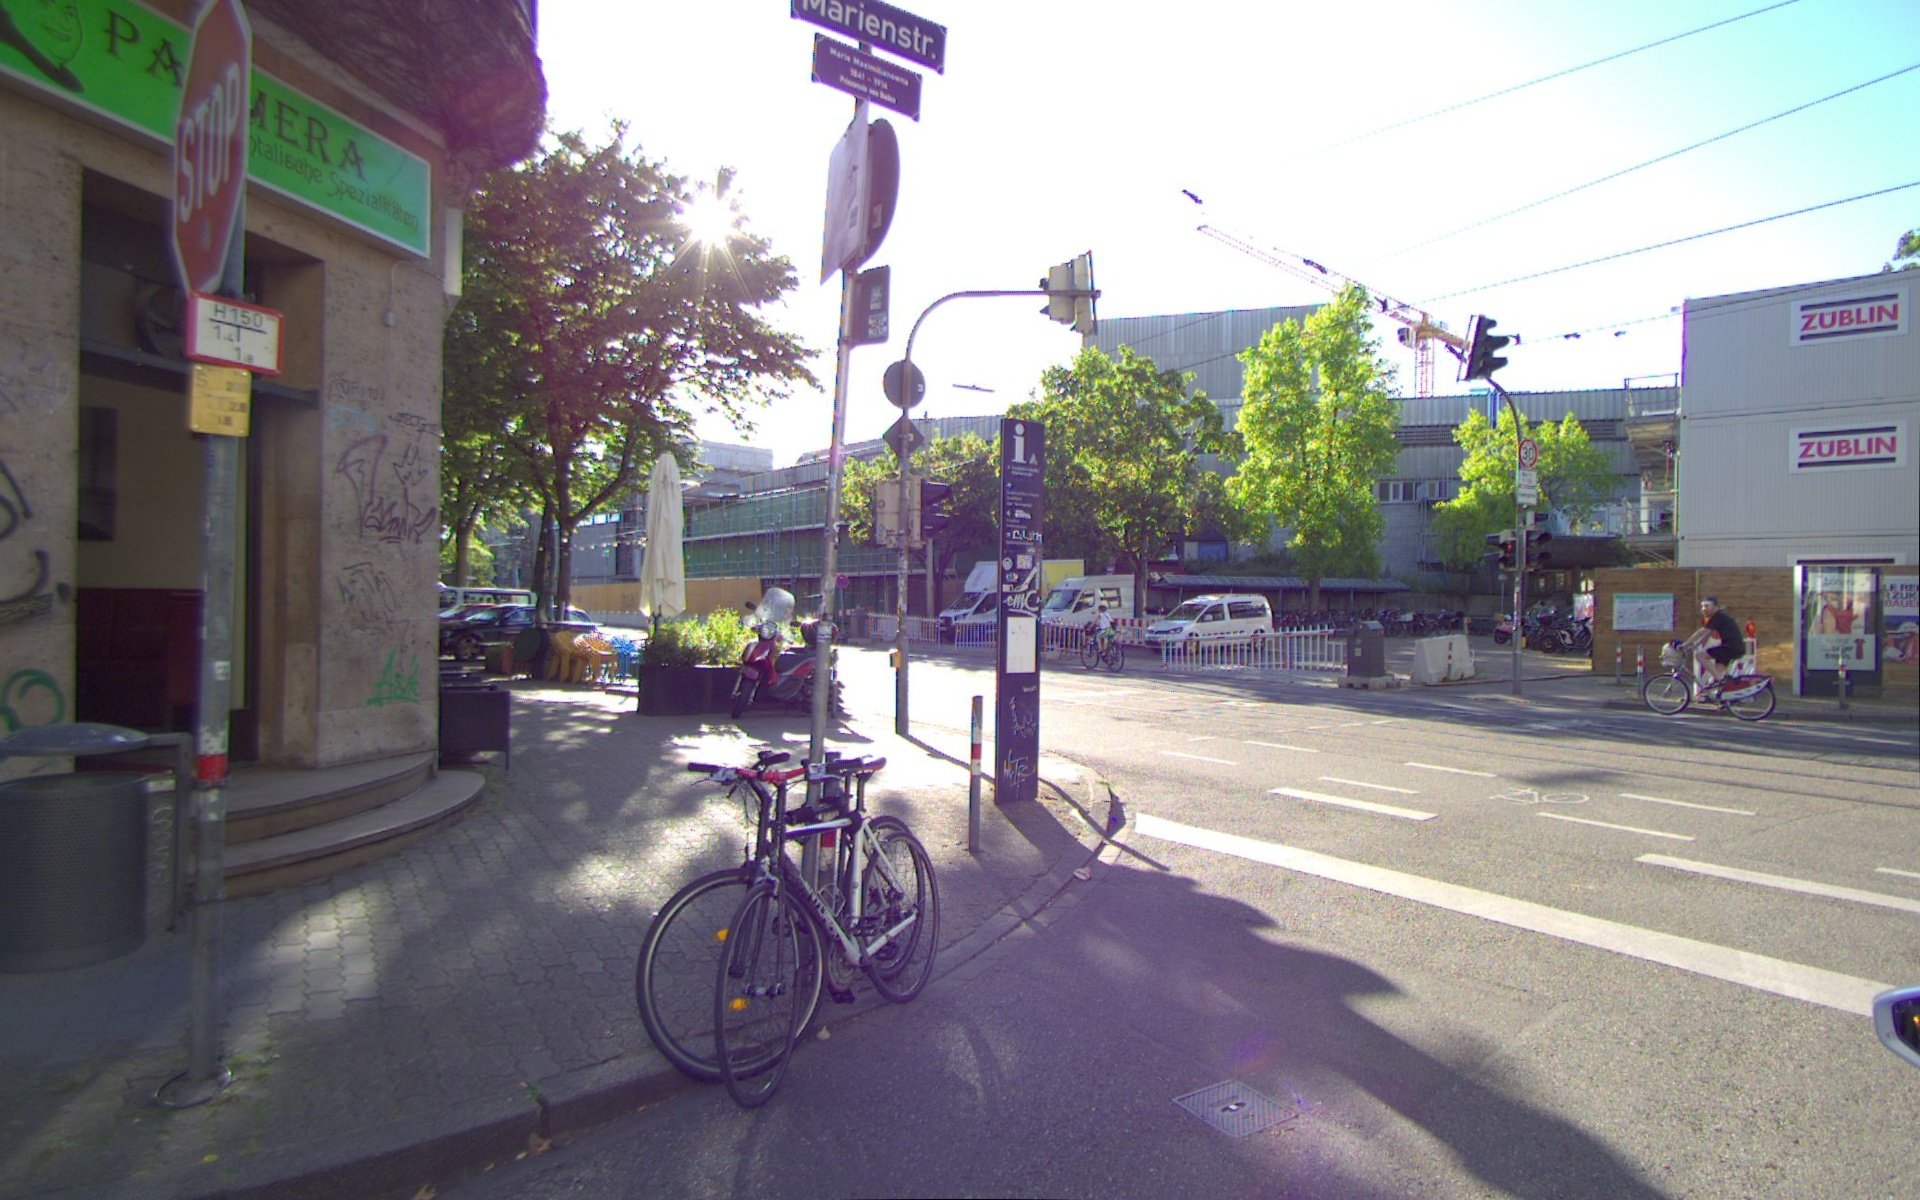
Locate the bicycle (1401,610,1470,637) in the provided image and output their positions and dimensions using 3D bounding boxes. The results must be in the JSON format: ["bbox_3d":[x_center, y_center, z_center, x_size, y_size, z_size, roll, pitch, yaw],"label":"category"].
[{"bbox_3d":[21.713,1.053,45.953,0.810,1.163,3.070,0,0,-25],"label":"bicycle"}]

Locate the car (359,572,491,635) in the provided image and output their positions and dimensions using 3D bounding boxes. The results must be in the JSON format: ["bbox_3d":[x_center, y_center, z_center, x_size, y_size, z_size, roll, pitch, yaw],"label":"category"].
[{"bbox_3d":[-25.312,0.217,47.594,5.152,2.611,2.222,4,-3,-38],"label":"car"}]

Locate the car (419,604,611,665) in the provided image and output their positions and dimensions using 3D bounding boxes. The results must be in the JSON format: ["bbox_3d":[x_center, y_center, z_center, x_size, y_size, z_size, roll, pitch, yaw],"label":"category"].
[{"bbox_3d":[-11.946,0.888,27.281,1.660,1.510,4.632,0,-1,33],"label":"car"}]

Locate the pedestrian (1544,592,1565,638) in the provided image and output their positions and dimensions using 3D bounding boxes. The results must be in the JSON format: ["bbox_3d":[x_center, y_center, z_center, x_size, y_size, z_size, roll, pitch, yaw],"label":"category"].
[{"bbox_3d":[26.873,0.680,45.368,0.789,2.040,1.028,0,0,32],"label":"pedestrian"}]

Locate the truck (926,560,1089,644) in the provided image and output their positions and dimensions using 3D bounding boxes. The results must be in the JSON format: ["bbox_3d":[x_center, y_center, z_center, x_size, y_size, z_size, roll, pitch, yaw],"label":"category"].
[{"bbox_3d":[2.137,-0.003,43.457,7.045,3.393,2.368,-1,1,-34],"label":"truck"}]

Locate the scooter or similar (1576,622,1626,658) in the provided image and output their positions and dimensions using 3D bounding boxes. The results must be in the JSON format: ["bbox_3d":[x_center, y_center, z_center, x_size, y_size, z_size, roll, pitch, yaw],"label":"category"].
[{"bbox_3d":[19.186,1.187,30.074,1.463,1.034,0.384,0,1,-16],"label":"scooter or similar"}]

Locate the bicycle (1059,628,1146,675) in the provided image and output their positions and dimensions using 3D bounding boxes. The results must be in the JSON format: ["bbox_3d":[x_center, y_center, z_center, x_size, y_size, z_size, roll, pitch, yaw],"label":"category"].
[{"bbox_3d":[3.722,1.345,26.495,0.886,1.107,2.408,2,-1,-33],"label":"bicycle"}]

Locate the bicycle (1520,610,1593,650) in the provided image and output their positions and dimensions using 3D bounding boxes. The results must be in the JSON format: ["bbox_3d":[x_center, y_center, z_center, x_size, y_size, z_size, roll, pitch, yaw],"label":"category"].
[{"bbox_3d":[19.641,0.975,33.098,2.009,1.274,0.471,0,1,19],"label":"bicycle"}]

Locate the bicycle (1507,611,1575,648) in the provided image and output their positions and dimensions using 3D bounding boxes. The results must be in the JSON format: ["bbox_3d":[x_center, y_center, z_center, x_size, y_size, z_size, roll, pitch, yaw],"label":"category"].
[{"bbox_3d":[20.611,1.036,35.686,2.009,1.274,0.543,0,1,19],"label":"bicycle"}]

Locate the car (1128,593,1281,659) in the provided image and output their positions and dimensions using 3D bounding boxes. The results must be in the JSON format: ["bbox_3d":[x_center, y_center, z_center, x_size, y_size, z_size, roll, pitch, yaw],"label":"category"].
[{"bbox_3d":[8.166,0.798,33.444,4.886,1.918,1.995,-2,2,-29],"label":"car"}]

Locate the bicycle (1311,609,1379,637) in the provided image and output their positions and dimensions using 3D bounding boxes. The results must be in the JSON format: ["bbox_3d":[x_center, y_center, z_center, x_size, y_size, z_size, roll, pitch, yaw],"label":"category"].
[{"bbox_3d":[16.653,0.983,43.551,0.810,1.163,3.070,0,0,-25],"label":"bicycle"}]

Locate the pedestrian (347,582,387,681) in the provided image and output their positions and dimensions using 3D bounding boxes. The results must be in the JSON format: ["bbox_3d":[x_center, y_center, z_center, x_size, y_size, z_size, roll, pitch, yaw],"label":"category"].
[{"bbox_3d":[-10.235,0.528,17.347,0.534,1.665,0.564,-1,1,-36],"label":"pedestrian"}]

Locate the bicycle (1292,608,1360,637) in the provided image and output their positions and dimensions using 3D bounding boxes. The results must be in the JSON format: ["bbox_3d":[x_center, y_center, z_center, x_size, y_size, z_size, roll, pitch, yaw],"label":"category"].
[{"bbox_3d":[15.673,0.956,43.142,0.810,1.163,3.070,0,0,-25],"label":"bicycle"}]

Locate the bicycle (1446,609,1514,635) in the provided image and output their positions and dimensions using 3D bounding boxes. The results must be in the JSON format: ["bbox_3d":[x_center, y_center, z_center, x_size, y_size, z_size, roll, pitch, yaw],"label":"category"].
[{"bbox_3d":[25.195,1.041,48.748,0.810,1.163,3.070,0,0,-25],"label":"bicycle"}]

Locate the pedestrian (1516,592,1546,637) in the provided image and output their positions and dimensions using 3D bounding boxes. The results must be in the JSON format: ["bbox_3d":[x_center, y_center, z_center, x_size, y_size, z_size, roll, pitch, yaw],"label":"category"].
[{"bbox_3d":[26.328,0.672,46.331,0.925,2.040,0.798,0,0,-24],"label":"pedestrian"}]

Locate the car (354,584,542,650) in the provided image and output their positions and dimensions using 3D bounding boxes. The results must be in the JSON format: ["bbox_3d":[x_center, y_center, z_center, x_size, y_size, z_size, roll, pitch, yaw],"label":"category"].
[{"bbox_3d":[-16.959,0.533,33.574,2.003,2.018,5.334,1,0,32],"label":"car"}]

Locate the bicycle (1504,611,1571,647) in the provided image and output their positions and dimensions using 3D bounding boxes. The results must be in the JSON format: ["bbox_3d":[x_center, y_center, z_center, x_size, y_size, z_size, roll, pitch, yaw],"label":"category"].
[{"bbox_3d":[20.819,1.032,36.242,2.009,1.274,0.543,0,1,19],"label":"bicycle"}]

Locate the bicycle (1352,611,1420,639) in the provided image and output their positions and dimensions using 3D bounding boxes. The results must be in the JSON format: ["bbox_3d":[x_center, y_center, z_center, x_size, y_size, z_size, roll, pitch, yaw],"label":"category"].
[{"bbox_3d":[18.934,1.077,44.738,0.810,1.163,3.070,0,0,-25],"label":"bicycle"}]

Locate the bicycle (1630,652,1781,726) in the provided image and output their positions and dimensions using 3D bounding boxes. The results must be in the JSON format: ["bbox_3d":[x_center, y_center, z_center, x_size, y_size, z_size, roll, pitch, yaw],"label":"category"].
[{"bbox_3d":[11.759,1.374,15.891,1.891,1.032,0.679,0,0,39],"label":"bicycle"}]

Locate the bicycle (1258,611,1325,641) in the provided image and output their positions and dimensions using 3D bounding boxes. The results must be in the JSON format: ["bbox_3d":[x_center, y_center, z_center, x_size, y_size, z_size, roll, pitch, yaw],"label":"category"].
[{"bbox_3d":[13.836,1.063,42.087,0.810,1.163,3.070,0,0,-25],"label":"bicycle"}]

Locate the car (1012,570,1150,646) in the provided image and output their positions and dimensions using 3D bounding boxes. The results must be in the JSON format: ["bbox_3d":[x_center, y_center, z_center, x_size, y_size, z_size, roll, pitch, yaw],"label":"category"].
[{"bbox_3d":[4.699,0.226,38.396,5.330,2.565,1.979,-3,2,-37],"label":"car"}]

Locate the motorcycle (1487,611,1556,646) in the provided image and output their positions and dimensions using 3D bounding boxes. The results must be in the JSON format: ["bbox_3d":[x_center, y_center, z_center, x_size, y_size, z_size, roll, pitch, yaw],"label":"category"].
[{"bbox_3d":[20.935,1.036,37.462,2.168,1.274,0.543,0,1,19],"label":"motorcycle"}]

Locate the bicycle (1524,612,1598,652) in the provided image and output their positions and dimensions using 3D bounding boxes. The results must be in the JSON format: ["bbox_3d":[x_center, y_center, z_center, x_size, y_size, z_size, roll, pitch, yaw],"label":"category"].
[{"bbox_3d":[19.506,1.029,32.639,2.009,1.274,0.471,0,1,19],"label":"bicycle"}]

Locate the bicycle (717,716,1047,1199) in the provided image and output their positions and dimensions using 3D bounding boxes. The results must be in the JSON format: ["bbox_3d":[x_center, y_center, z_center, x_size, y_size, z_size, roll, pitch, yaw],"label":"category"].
[{"bbox_3d":[-0.160,1.064,3.559,0.449,1.060,1.687,0,2,22],"label":"bicycle"}]

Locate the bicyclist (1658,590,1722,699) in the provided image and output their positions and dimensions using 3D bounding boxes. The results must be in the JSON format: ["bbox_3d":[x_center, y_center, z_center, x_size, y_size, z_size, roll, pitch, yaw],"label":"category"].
[{"bbox_3d":[11.628,0.694,15.999,0.799,1.680,0.679,0,0,38],"label":"bicyclist"}]

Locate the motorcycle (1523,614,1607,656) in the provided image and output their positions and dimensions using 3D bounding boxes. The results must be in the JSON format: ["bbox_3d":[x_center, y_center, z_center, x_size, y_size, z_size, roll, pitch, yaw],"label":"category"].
[{"bbox_3d":[19.037,1.097,31.646,2.168,1.274,0.543,0,1,19],"label":"motorcycle"}]

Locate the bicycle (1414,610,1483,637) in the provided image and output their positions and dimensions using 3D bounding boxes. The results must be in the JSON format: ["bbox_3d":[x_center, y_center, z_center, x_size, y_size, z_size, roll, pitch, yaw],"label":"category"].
[{"bbox_3d":[22.521,1.075,46.405,0.810,1.163,3.070,0,0,-25],"label":"bicycle"}]

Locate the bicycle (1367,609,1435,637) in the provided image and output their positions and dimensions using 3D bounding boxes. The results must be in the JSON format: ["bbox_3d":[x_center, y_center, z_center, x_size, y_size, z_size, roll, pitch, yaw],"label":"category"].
[{"bbox_3d":[19.747,1.000,45.084,0.810,1.163,3.070,0,0,-25],"label":"bicycle"}]

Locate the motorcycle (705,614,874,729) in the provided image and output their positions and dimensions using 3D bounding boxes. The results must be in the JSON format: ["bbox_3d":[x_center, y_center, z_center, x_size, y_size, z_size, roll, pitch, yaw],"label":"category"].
[{"bbox_3d":[-2.189,0.918,13.364,0.982,1.368,2.419,0,-3,25],"label":"motorcycle"}]

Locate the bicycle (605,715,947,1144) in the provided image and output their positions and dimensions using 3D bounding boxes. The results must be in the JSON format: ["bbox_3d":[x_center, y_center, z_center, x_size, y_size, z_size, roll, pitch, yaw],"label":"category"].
[{"bbox_3d":[-0.578,1.060,3.786,0.442,1.060,1.663,0,0,22],"label":"bicycle"}]

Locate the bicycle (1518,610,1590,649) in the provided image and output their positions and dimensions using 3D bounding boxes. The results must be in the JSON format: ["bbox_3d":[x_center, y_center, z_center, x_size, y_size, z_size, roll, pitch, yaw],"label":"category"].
[{"bbox_3d":[19.822,0.978,33.569,2.009,1.274,0.471,0,1,19],"label":"bicycle"}]

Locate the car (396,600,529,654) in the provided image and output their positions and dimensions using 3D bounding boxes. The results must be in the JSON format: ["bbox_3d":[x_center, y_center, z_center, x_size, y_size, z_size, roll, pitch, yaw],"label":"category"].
[{"bbox_3d":[-15.477,0.806,31.375,1.659,1.523,3.318,4,2,31],"label":"car"}]

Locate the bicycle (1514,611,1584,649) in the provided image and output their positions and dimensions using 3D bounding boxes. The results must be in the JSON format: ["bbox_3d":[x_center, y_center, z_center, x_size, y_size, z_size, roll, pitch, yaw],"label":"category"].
[{"bbox_3d":[20.232,1.021,34.551,2.009,1.274,0.543,0,1,19],"label":"bicycle"}]

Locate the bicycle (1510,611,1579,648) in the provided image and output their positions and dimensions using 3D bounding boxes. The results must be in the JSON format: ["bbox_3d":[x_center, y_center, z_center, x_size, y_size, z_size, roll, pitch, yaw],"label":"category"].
[{"bbox_3d":[20.420,1.024,35.114,2.009,1.274,0.543,0,1,19],"label":"bicycle"}]

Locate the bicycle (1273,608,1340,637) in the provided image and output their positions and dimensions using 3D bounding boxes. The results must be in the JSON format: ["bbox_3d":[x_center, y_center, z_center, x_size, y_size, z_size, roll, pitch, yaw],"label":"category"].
[{"bbox_3d":[14.661,0.929,42.626,0.810,1.163,3.070,0,0,-25],"label":"bicycle"}]

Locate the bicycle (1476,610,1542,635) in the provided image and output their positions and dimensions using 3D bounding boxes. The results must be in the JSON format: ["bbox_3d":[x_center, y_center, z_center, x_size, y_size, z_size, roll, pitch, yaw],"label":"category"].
[{"bbox_3d":[27.547,1.102,50.486,0.810,1.163,3.070,0,0,-25],"label":"bicycle"}]

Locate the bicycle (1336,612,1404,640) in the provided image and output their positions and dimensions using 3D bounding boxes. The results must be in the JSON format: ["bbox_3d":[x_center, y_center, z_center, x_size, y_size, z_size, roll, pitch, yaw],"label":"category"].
[{"bbox_3d":[18.021,1.138,44.277,0.810,1.163,3.070,0,0,-25],"label":"bicycle"}]

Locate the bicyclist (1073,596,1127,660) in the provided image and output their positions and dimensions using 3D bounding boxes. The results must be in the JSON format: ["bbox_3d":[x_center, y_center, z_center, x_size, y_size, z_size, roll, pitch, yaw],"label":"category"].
[{"bbox_3d":[3.707,0.737,26.547,0.886,1.661,1.090,2,-1,-33],"label":"bicyclist"}]

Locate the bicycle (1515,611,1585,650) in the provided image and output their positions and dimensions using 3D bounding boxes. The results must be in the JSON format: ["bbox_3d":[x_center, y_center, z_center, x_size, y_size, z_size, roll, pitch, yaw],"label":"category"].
[{"bbox_3d":[19.984,1.025,34.056,2.009,1.274,0.471,0,1,19],"label":"bicycle"}]
